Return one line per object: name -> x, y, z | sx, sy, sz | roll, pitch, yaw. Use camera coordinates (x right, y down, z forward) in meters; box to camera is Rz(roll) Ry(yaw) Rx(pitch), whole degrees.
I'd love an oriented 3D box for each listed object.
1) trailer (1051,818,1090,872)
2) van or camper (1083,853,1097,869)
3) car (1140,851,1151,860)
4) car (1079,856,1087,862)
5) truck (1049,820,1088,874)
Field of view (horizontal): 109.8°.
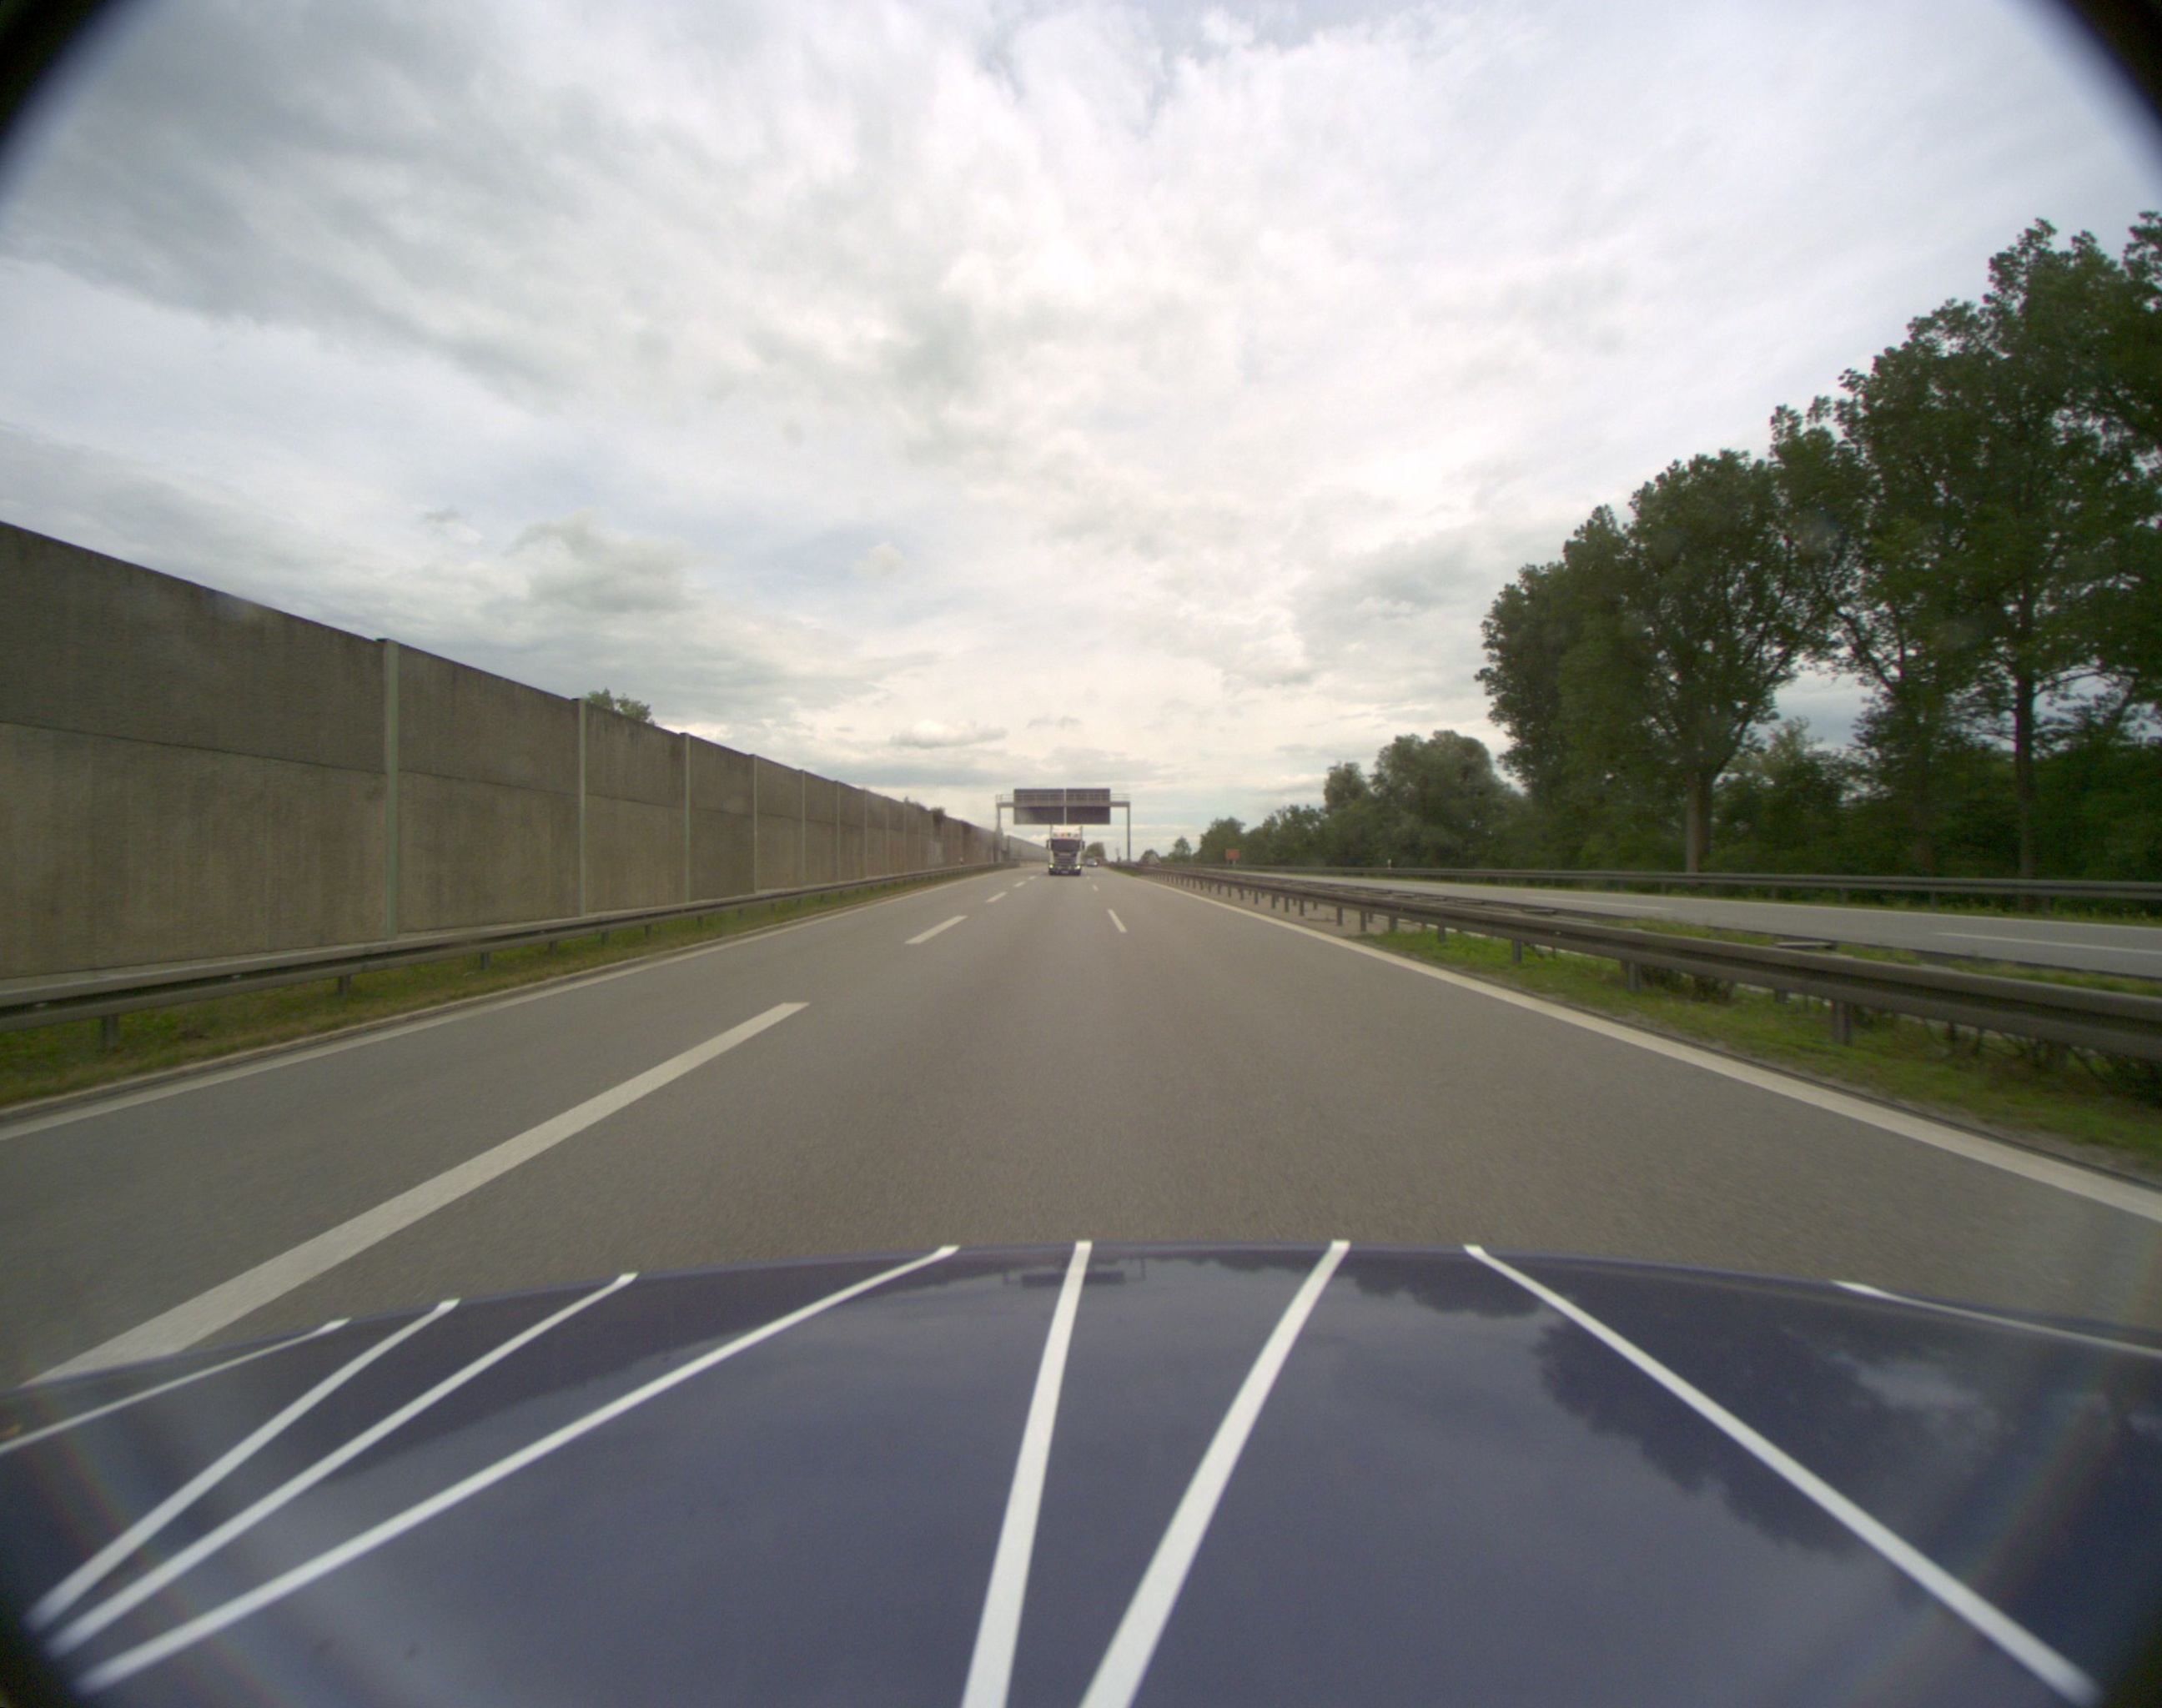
trailer -> -0.768, -0.595, 67.146 | 2.799, 4.149, 14.106 | 1, -1, 1
van or camper -> 1.616, 1.339, 137.790 | 2.435, 2.680, 7.228 | 1, -2, 1
car -> 14.071, 0.270, 165.738 | 1.999, 1.991, 4.743 | 1, 0, -1
car -> 0.529, 1.240, 199.926 | 1.889, 1.608, 4.000 | 1, 0, 0
truck -> -0.919, -0.488, 59.791 | 2.762, 3.936, 5.678 | 1, -1, 1
